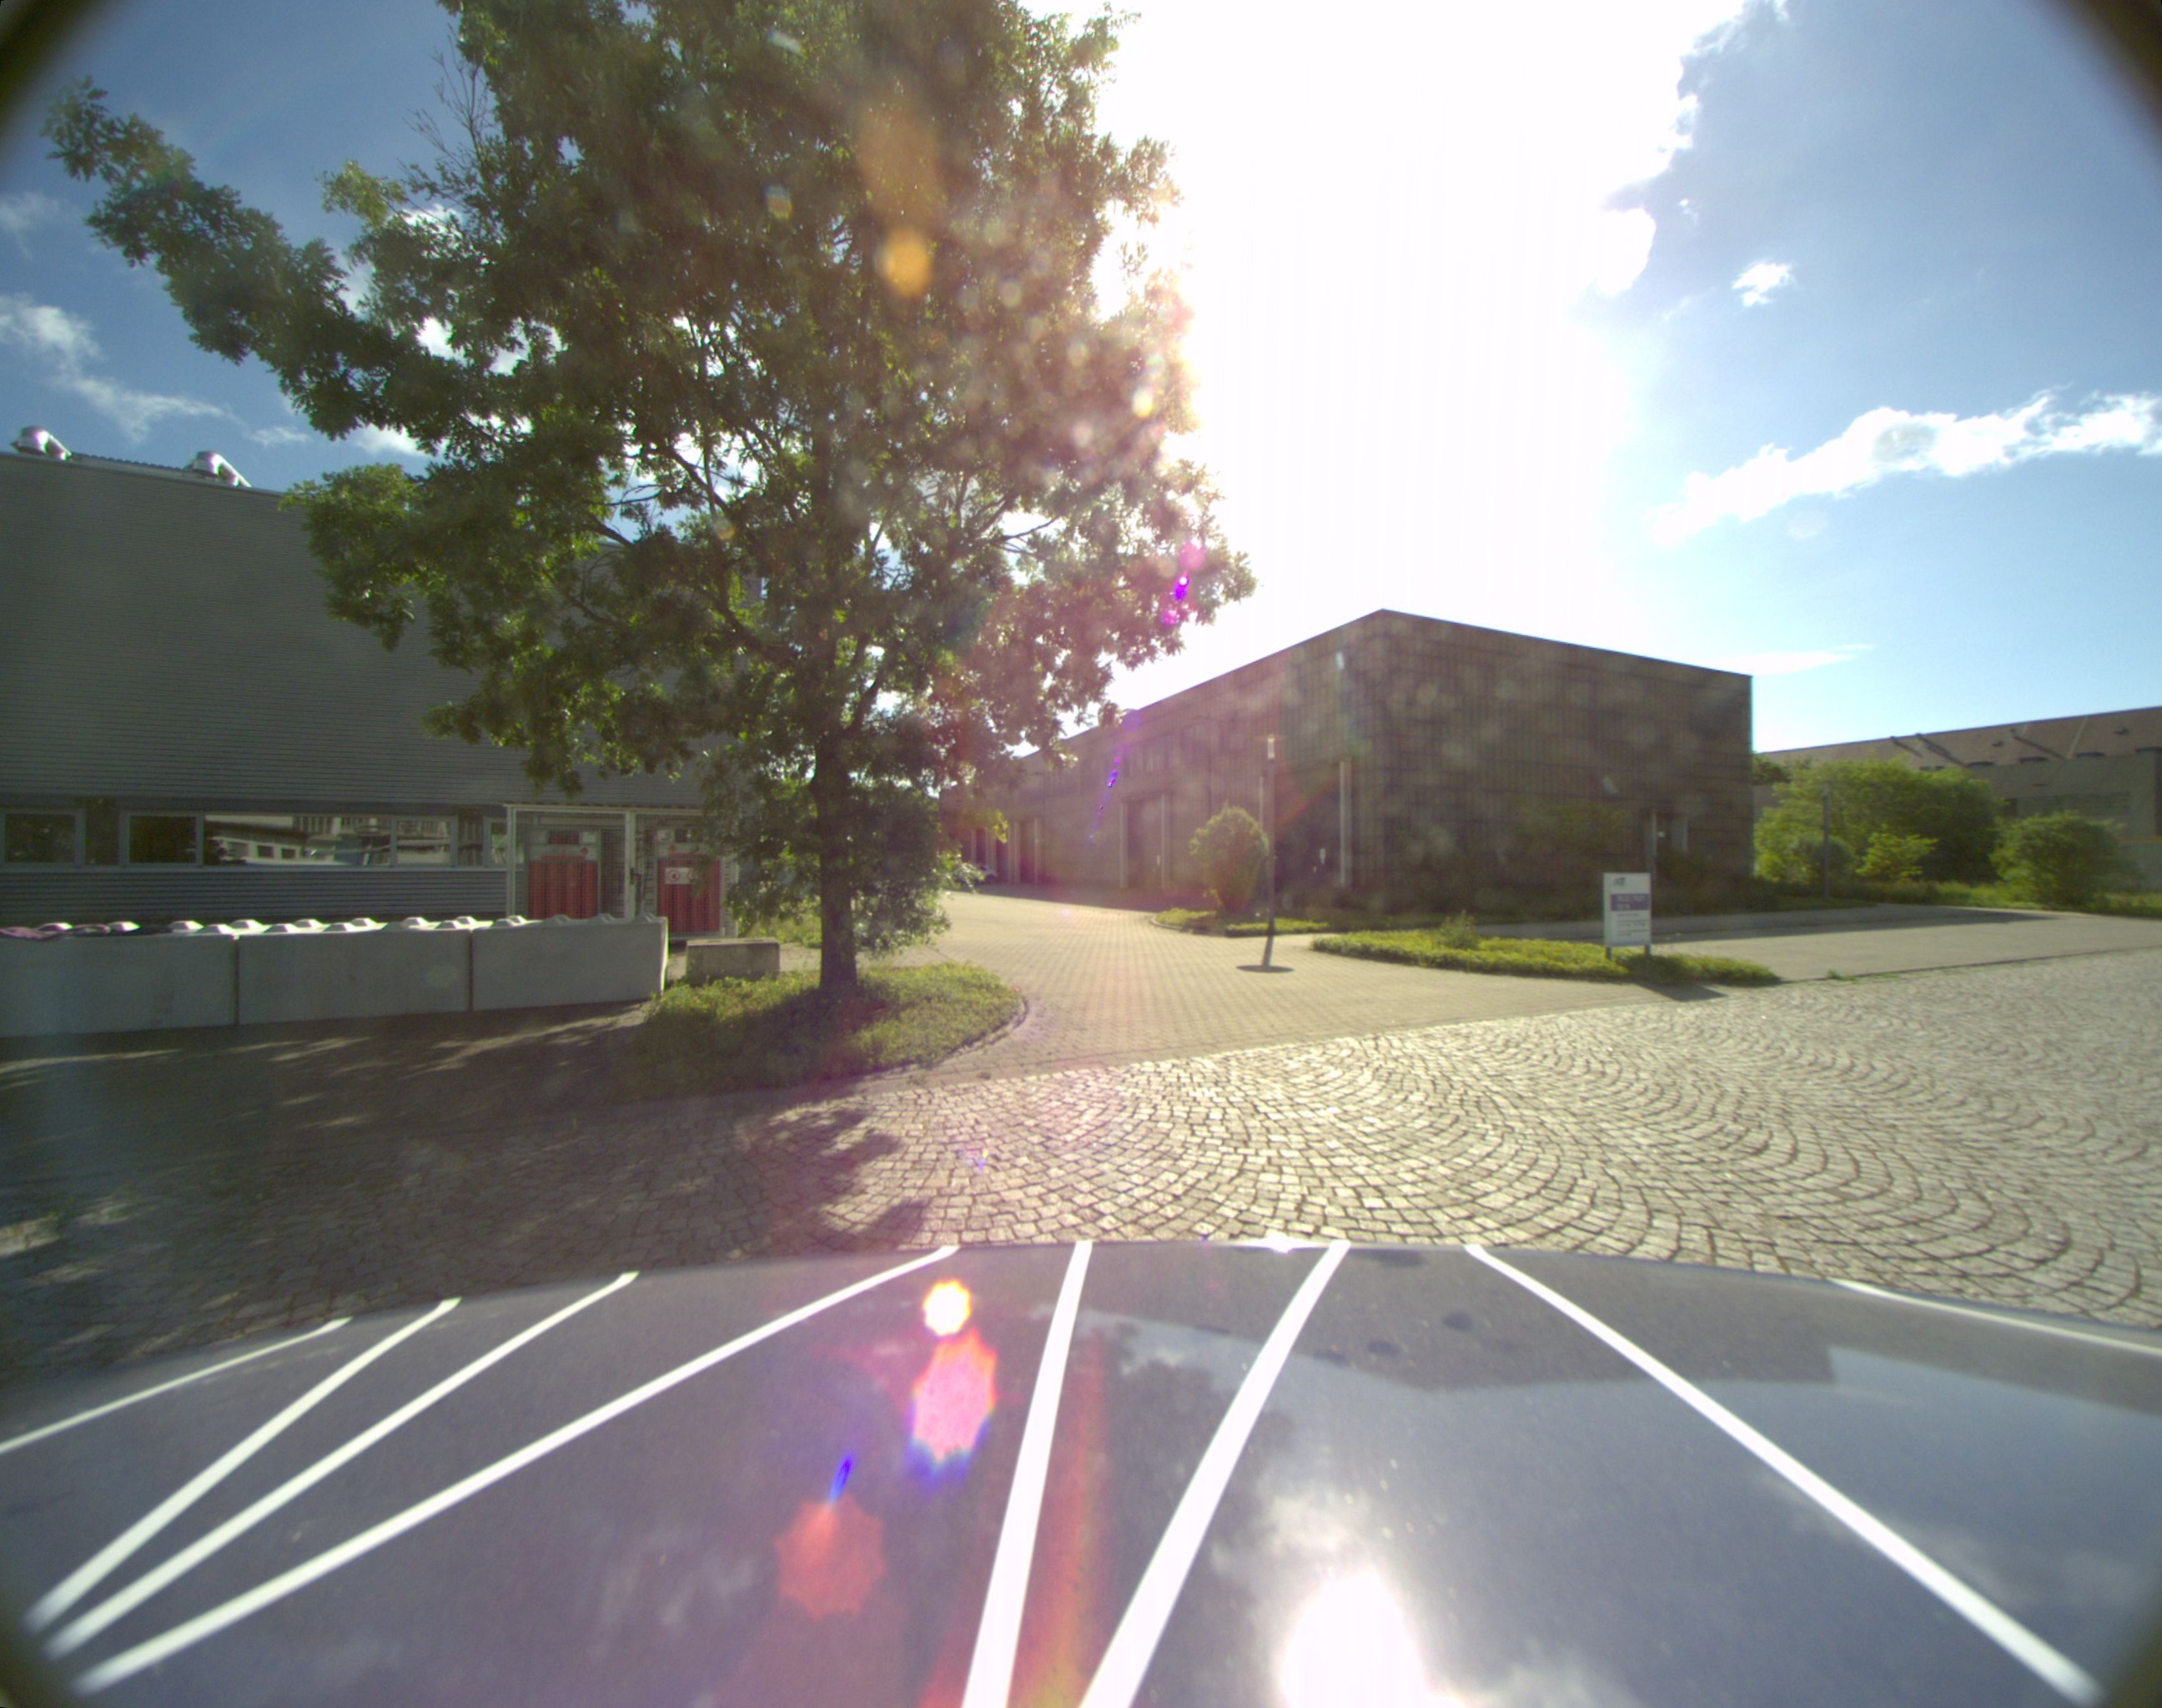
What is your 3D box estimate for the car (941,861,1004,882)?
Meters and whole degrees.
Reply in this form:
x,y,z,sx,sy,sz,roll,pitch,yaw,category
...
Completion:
x,y,z,sx,sy,sz,roll,pitch,yaw,category
-8.694,1.389,60.905,4.585,1.653,1.996,0,-1,-24,car
